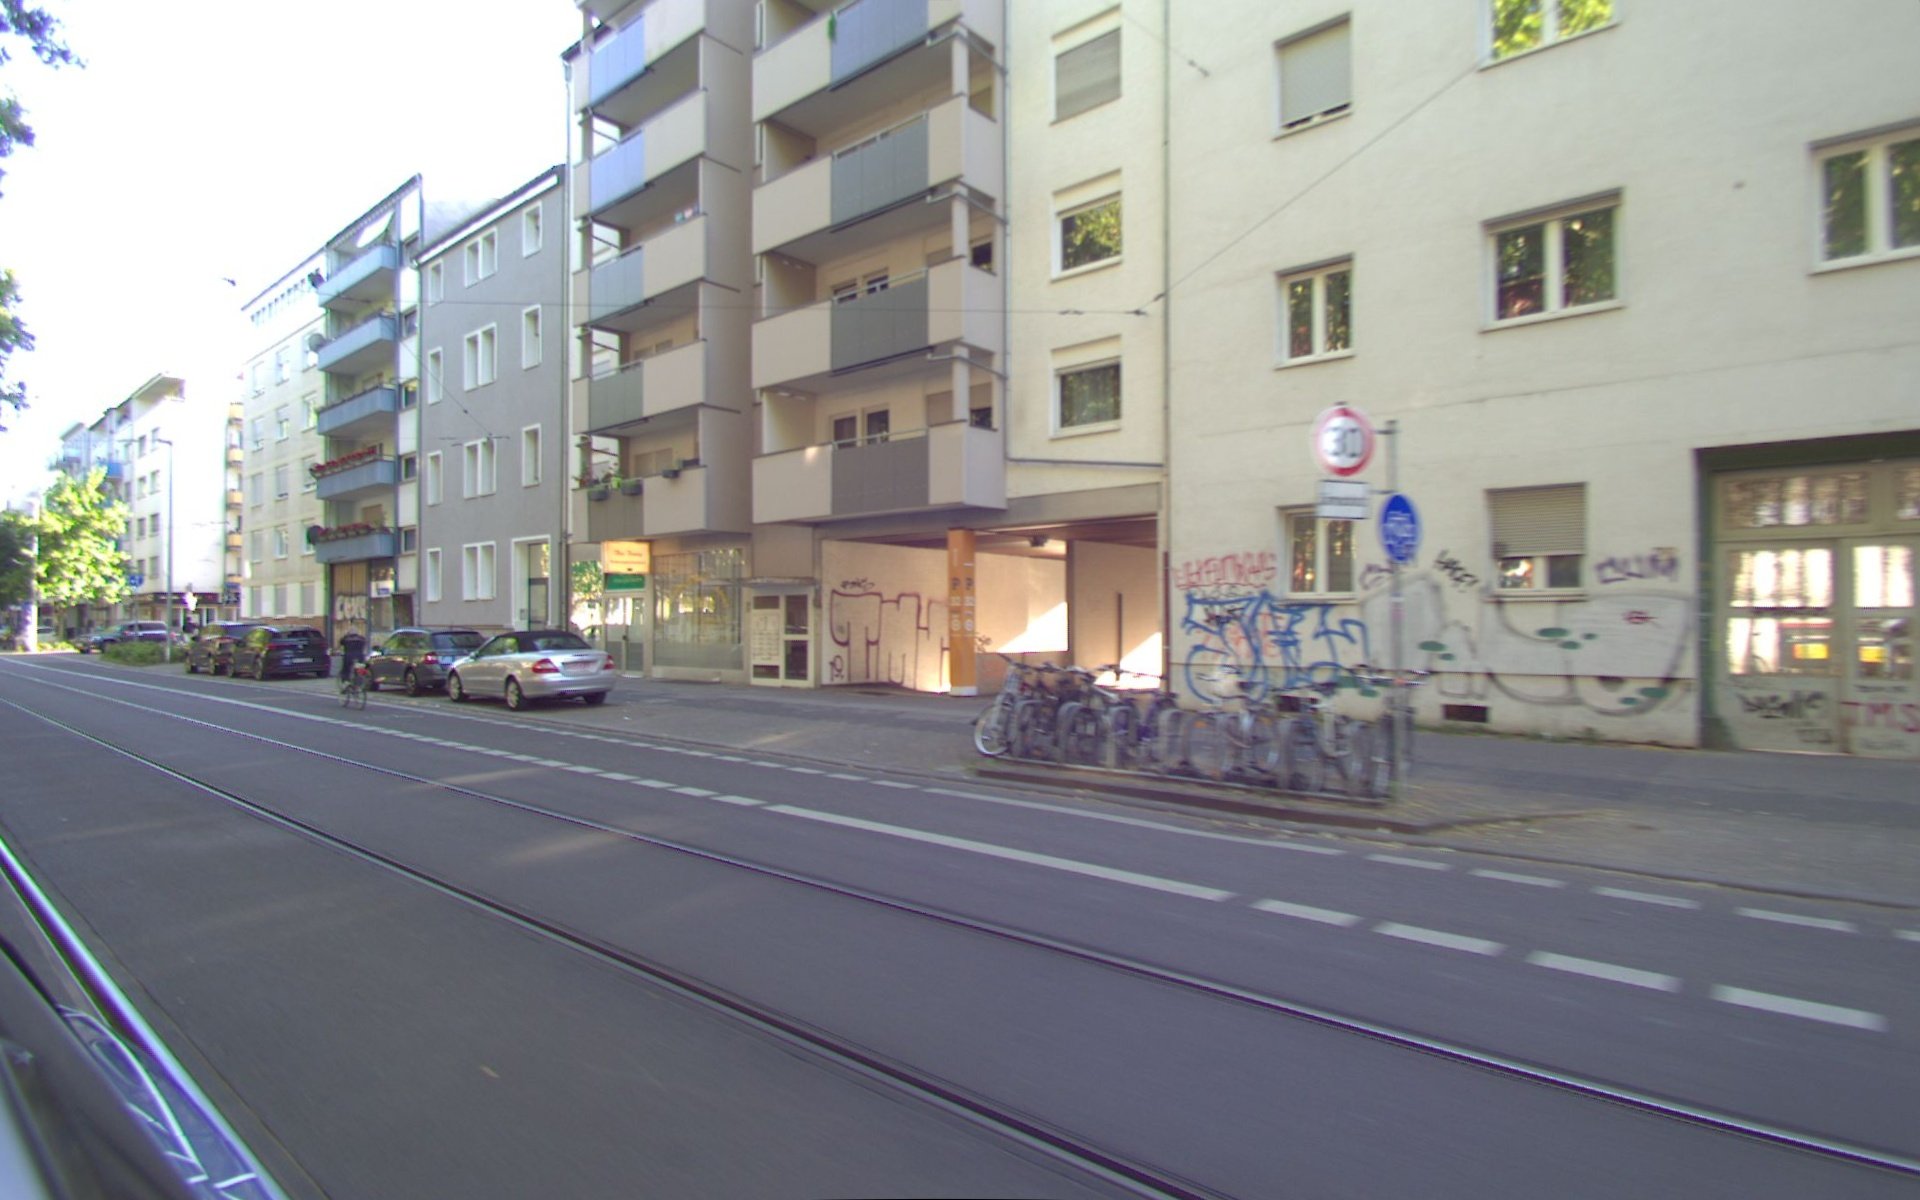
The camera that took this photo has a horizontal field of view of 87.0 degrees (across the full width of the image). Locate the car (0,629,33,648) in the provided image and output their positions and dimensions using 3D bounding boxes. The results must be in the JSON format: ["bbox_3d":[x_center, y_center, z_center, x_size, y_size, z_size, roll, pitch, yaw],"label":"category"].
[{"bbox_3d":[-81.080,3.242,85.616,1.587,1.535,3.899,-2,-2,45],"label":"car"}]

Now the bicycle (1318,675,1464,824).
[{"bbox_3d":[3.769,1.238,8.774,1.870,1.045,0.402,-1,-1,-42],"label":"bicycle"}]

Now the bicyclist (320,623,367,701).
[{"bbox_3d":[-11.326,1.125,18.590,0.709,1.405,0.503,-2,-4,41],"label":"bicyclist"}]

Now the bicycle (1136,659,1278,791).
[{"bbox_3d":[2.506,1.202,10.148,1.797,1.127,0.425,-1,-1,-42],"label":"bicycle"}]

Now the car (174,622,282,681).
[{"bbox_3d":[-23.907,1.632,33.002,4.485,1.752,1.762,-1,0,39],"label":"car"}]

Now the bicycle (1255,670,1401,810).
[{"bbox_3d":[3.380,1.221,9.192,1.870,1.045,0.402,-1,-1,-42],"label":"bicycle"}]

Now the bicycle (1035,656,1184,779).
[{"bbox_3d":[1.654,1.223,10.956,1.937,1.127,0.440,-1,-1,-42],"label":"bicycle"}]

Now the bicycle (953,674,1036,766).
[{"bbox_3d":[0.441,1.417,12.231,0.400,0.924,1.609,-1,-1,25],"label":"bicycle"}]

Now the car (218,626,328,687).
[{"bbox_3d":[-20.230,1.605,29.744,4.199,1.612,1.639,-2,0,41],"label":"car"}]

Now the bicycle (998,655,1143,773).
[{"bbox_3d":[1.267,1.233,11.331,1.907,1.127,0.440,-1,-1,-42],"label":"bicycle"}]

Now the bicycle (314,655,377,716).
[{"bbox_3d":[-11.300,1.545,18.588,1.946,1.026,0.412,-1,-4,42],"label":"bicycle"}]

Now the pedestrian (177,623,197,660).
[{"bbox_3d":[-40.643,2.162,53.227,0.762,1.913,0.800,0,-1,-41],"label":"pedestrian"}]

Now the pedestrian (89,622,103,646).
[{"bbox_3d":[-55.129,2.182,64.604,0.655,1.516,0.588,-2,-1,41],"label":"pedestrian"}]

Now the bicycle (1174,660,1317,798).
[{"bbox_3d":[2.772,1.189,9.713,1.767,1.127,0.425,-1,-1,-42],"label":"bicycle"}]

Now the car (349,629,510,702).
[{"bbox_3d":[-12.046,1.412,22.868,4.237,1.502,1.775,-1,-2,40],"label":"car"}]

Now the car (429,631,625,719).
[{"bbox_3d":[-8.424,1.344,19.484,4.727,1.502,1.671,-2,-2,42],"label":"car"}]

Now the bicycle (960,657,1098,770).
[{"bbox_3d":[0.835,1.279,11.794,1.870,1.127,0.402,-1,-1,-42],"label":"bicycle"}]

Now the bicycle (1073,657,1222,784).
[{"bbox_3d":[1.996,1.215,10.607,1.944,1.127,0.425,-1,-1,-42],"label":"bicycle"}]
